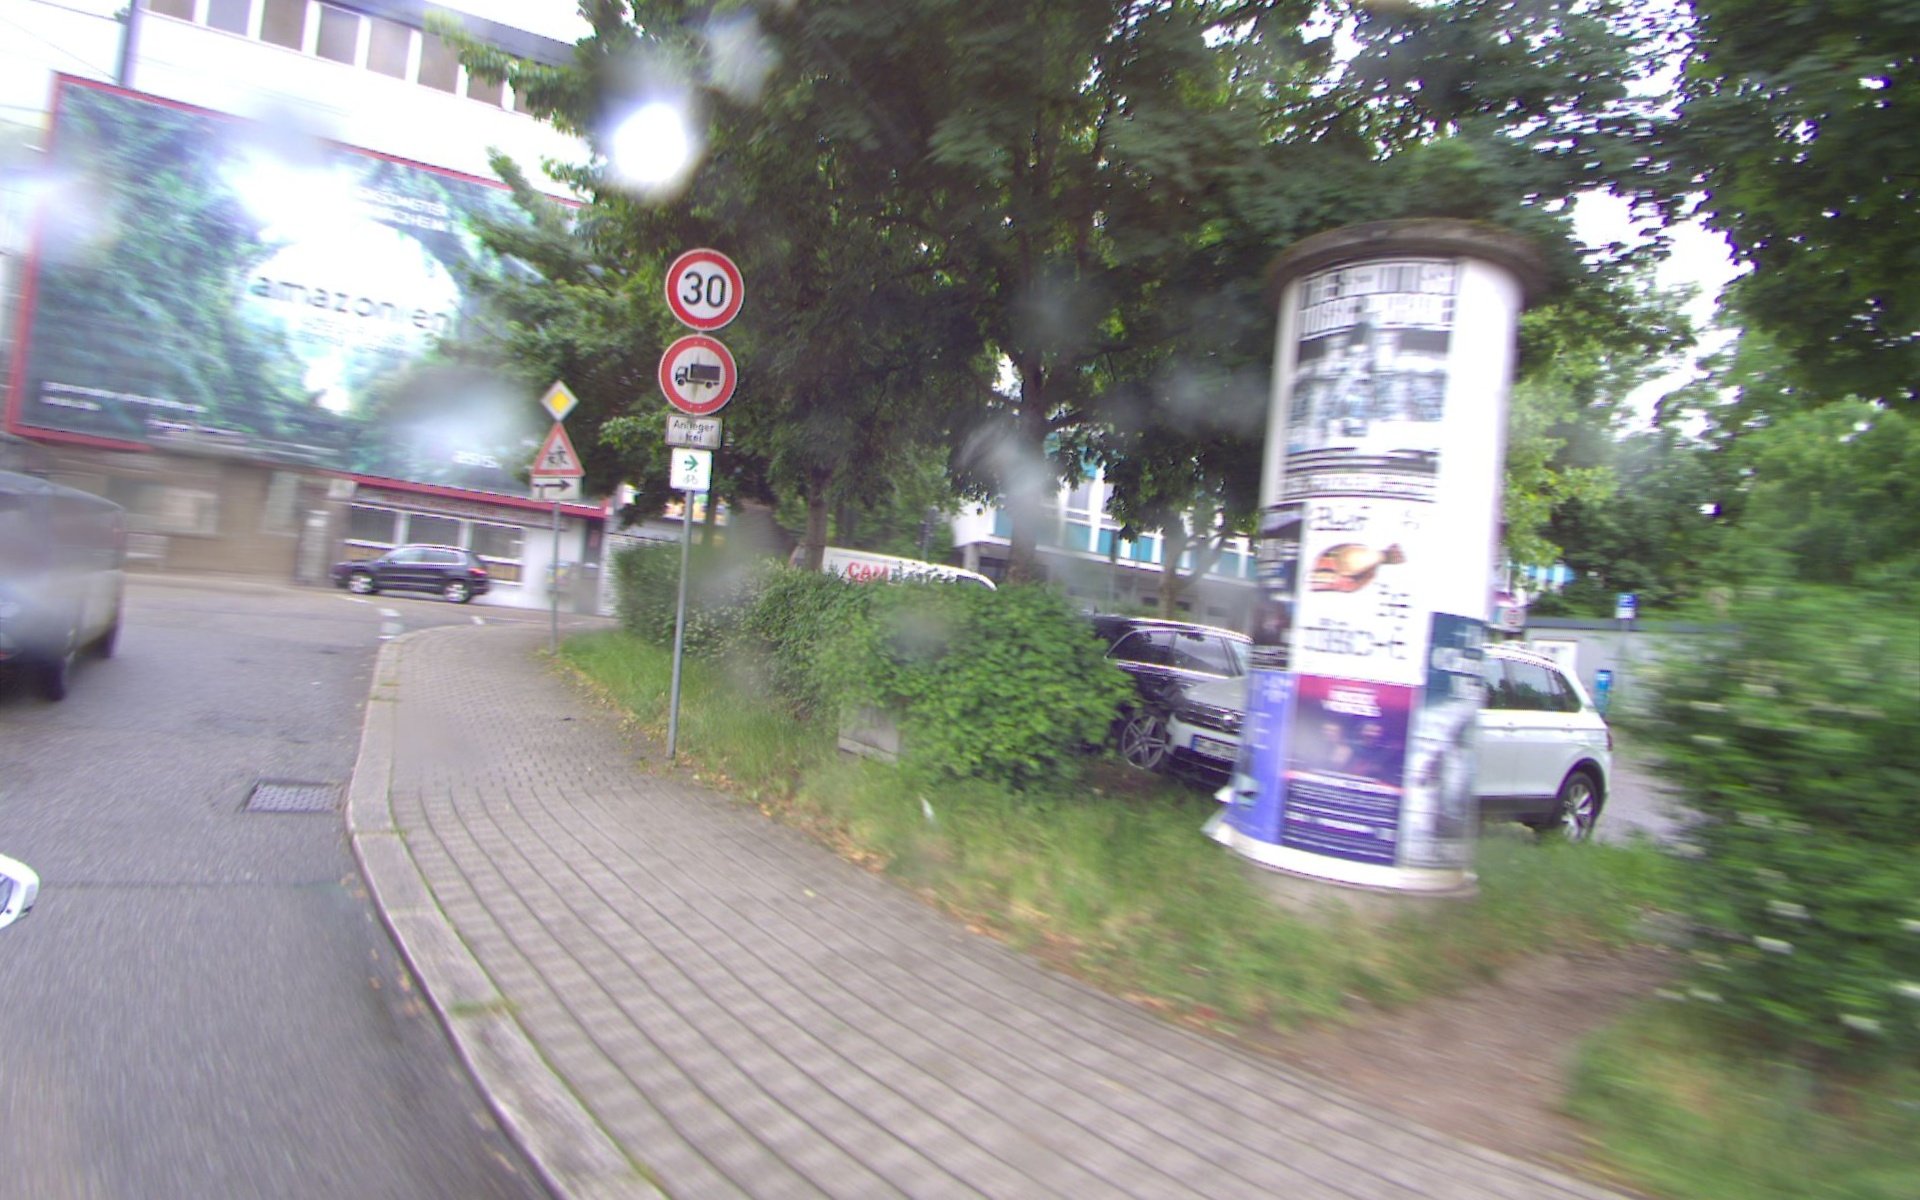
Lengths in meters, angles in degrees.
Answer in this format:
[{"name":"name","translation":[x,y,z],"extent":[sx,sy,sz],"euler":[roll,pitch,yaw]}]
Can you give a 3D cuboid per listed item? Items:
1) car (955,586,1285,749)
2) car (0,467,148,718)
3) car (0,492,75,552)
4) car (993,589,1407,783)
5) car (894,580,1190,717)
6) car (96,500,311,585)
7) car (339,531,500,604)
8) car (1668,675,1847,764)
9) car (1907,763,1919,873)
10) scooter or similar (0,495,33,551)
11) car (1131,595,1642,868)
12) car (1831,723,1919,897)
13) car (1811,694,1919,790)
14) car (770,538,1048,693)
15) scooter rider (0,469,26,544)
[{"name":"car","translation":[2.204,0.941,13.419],"extent":[4.170,1.641,1.622],"euler":[8,1,-33]},{"name":"car","translation":[-7.825,-0.252,7.827],"extent":[1.870,1.613,3.884],"euler":[8,-1,-34]},{"name":"car","translation":[-27.558,-2.285,28.946],"extent":[1.851,1.551,3.970],"euler":[8,0,-23]},{"name":"car","translation":[2.584,0.939,10.470],"extent":[4.170,1.501,1.622],"euler":[8,1,-33]},{"name":"car","translation":[1.294,0.754,15.088],"extent":[4.170,1.501,1.622],"euler":[8,1,-33]},{"name":"car","translation":[-21.734,-1.592,29.143],"extent":[4.429,1.731,1.925],"euler":[8,-2,-20]},{"name":"car","translation":[-16.418,-0.957,30.790],"extent":[3.943,1.732,1.924],"euler":[6,0,-20]},{"name":"car","translation":[18.502,2.780,23.320],"extent":[3.955,1.630,1.786],"euler":[7,0,-30]},{"name":"car","translation":[11.508,2.142,9.215],"extent":[1.617,1.717,3.680],"euler":[7,-1,-25]},{"name":"scooter or similar","translation":[-24.553,-2.015,25.420],"extent":[1.382,1.339,0.805],"euler":[7,0,2]},{"name":"car","translation":[3.590,1.080,8.219],"extent":[4.170,1.641,1.622],"euler":[8,1,-33]},{"name":"car","translation":[9.422,1.957,7.753],"extent":[1.619,1.381,3.675],"euler":[7,-1,-29]},{"name":"car","translation":[19.603,2.969,20.748],"extent":[3.955,1.630,1.786],"euler":[7,0,-30]},{"name":"car","translation":[-0.858,0.269,16.833],"extent":[4.156,1.984,1.628],"euler":[8,1,-22]},{"name":"scooter rider","translation":[-24.453,-2.407,25.417],"extent":[0.767,1.843,0.805],"euler":[6,0,2]}]
